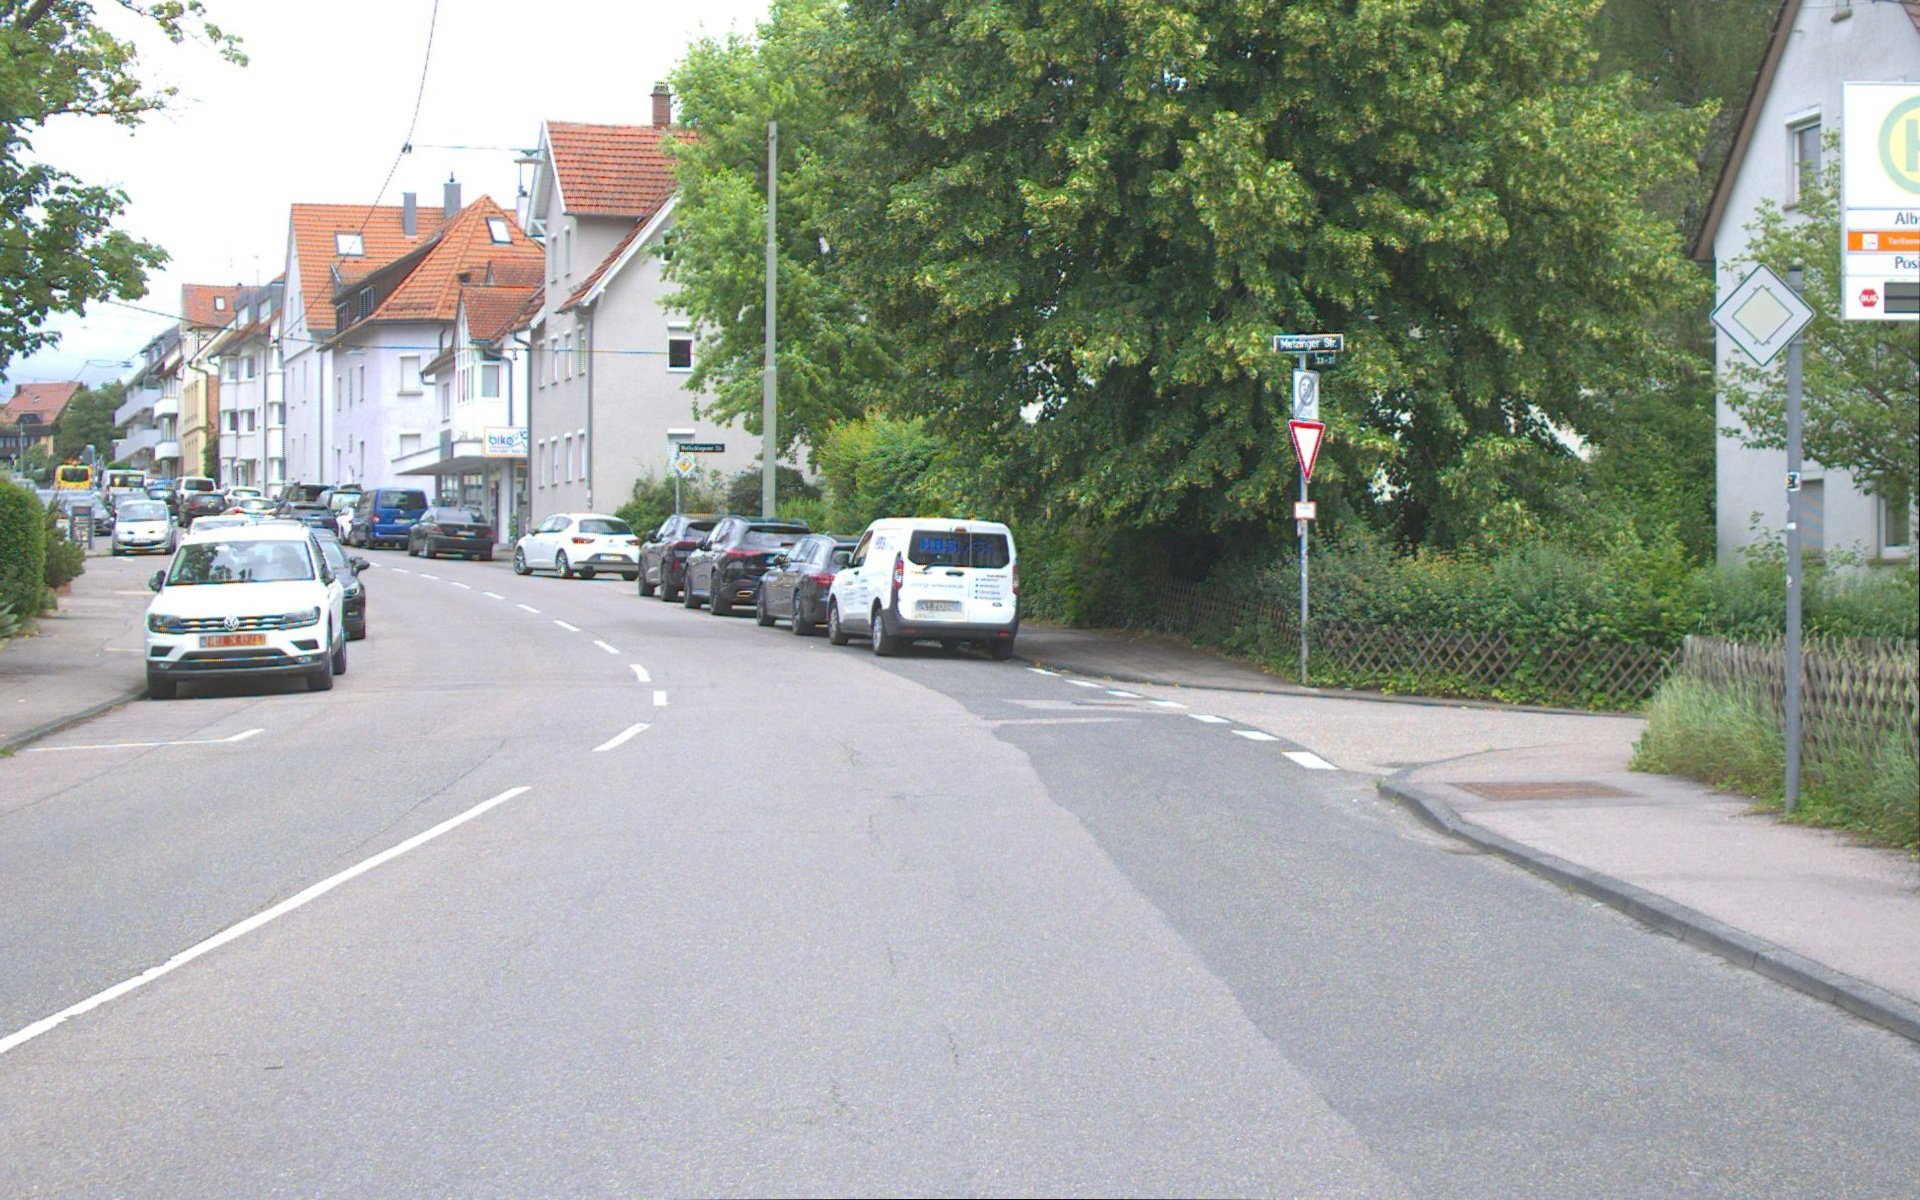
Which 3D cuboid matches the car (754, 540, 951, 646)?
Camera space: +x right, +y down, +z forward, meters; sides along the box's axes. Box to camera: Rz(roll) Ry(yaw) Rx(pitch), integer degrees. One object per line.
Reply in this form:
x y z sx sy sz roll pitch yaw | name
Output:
-1.644 -0.134 50.691 1.993 1.473 4.621 0 1 -14 | car

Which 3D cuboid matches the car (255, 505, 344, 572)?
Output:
-20.635 -1.928 107.331 2.151 2.007 4.001 2 1 -19 | car

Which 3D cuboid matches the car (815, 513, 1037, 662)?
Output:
-0.515 -0.205 45.476 1.837 1.768 4.319 3 1 -15 | car

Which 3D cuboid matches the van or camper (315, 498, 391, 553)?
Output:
-21.396 -2.640 121.061 1.870 1.822 4.682 2 1 -19 | van or camper

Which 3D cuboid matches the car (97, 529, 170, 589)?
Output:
-23.991 -1.211 99.902 1.833 1.572 4.033 -3 2 -11 | car

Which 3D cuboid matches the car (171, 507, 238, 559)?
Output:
-30.245 -2.685 137.587 2.151 2.007 4.001 2 1 -19 | car

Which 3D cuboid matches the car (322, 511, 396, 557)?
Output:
-20.137 -2.225 115.001 1.713 1.431 4.641 2 1 -19 | car

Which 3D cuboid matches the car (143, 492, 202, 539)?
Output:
-35.909 -3.851 156.629 2.151 2.007 4.001 2 1 -19 | car

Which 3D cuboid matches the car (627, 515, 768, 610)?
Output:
-4.842 -0.692 62.863 1.810 1.610 4.541 2 1 -14 | car

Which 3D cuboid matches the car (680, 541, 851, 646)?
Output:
-3.283 -0.131 57.186 1.993 1.610 4.541 2 1 -14 | car

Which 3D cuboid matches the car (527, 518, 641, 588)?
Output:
-8.325 -1.052 75.926 1.940 1.434 4.001 1 1 -14 | car

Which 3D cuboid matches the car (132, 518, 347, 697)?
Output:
-7.479 0.030 36.045 1.849 1.708 4.576 -1 1 -8 | car

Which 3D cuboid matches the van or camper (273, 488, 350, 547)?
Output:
-24.211 -3.086 128.287 1.993 2.058 5.947 3 1 -18 | van or camper

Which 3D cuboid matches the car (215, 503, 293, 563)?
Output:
-25.044 -2.382 121.888 2.151 2.007 4.001 2 1 -19 | car

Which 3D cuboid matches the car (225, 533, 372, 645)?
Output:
-9.293 -0.191 48.104 1.762 1.433 4.079 -2 2 -14 | car

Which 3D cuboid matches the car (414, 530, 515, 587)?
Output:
-14.277 -1.206 98.844 1.993 1.512 4.893 2 1 -18 | car

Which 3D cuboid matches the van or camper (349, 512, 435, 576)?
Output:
-18.143 -1.797 109.620 1.926 1.919 4.832 1 1 -19 | van or camper

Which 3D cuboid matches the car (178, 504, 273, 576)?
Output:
-16.182 -1.321 75.669 1.725 1.453 3.900 -3 2 -16 | car
